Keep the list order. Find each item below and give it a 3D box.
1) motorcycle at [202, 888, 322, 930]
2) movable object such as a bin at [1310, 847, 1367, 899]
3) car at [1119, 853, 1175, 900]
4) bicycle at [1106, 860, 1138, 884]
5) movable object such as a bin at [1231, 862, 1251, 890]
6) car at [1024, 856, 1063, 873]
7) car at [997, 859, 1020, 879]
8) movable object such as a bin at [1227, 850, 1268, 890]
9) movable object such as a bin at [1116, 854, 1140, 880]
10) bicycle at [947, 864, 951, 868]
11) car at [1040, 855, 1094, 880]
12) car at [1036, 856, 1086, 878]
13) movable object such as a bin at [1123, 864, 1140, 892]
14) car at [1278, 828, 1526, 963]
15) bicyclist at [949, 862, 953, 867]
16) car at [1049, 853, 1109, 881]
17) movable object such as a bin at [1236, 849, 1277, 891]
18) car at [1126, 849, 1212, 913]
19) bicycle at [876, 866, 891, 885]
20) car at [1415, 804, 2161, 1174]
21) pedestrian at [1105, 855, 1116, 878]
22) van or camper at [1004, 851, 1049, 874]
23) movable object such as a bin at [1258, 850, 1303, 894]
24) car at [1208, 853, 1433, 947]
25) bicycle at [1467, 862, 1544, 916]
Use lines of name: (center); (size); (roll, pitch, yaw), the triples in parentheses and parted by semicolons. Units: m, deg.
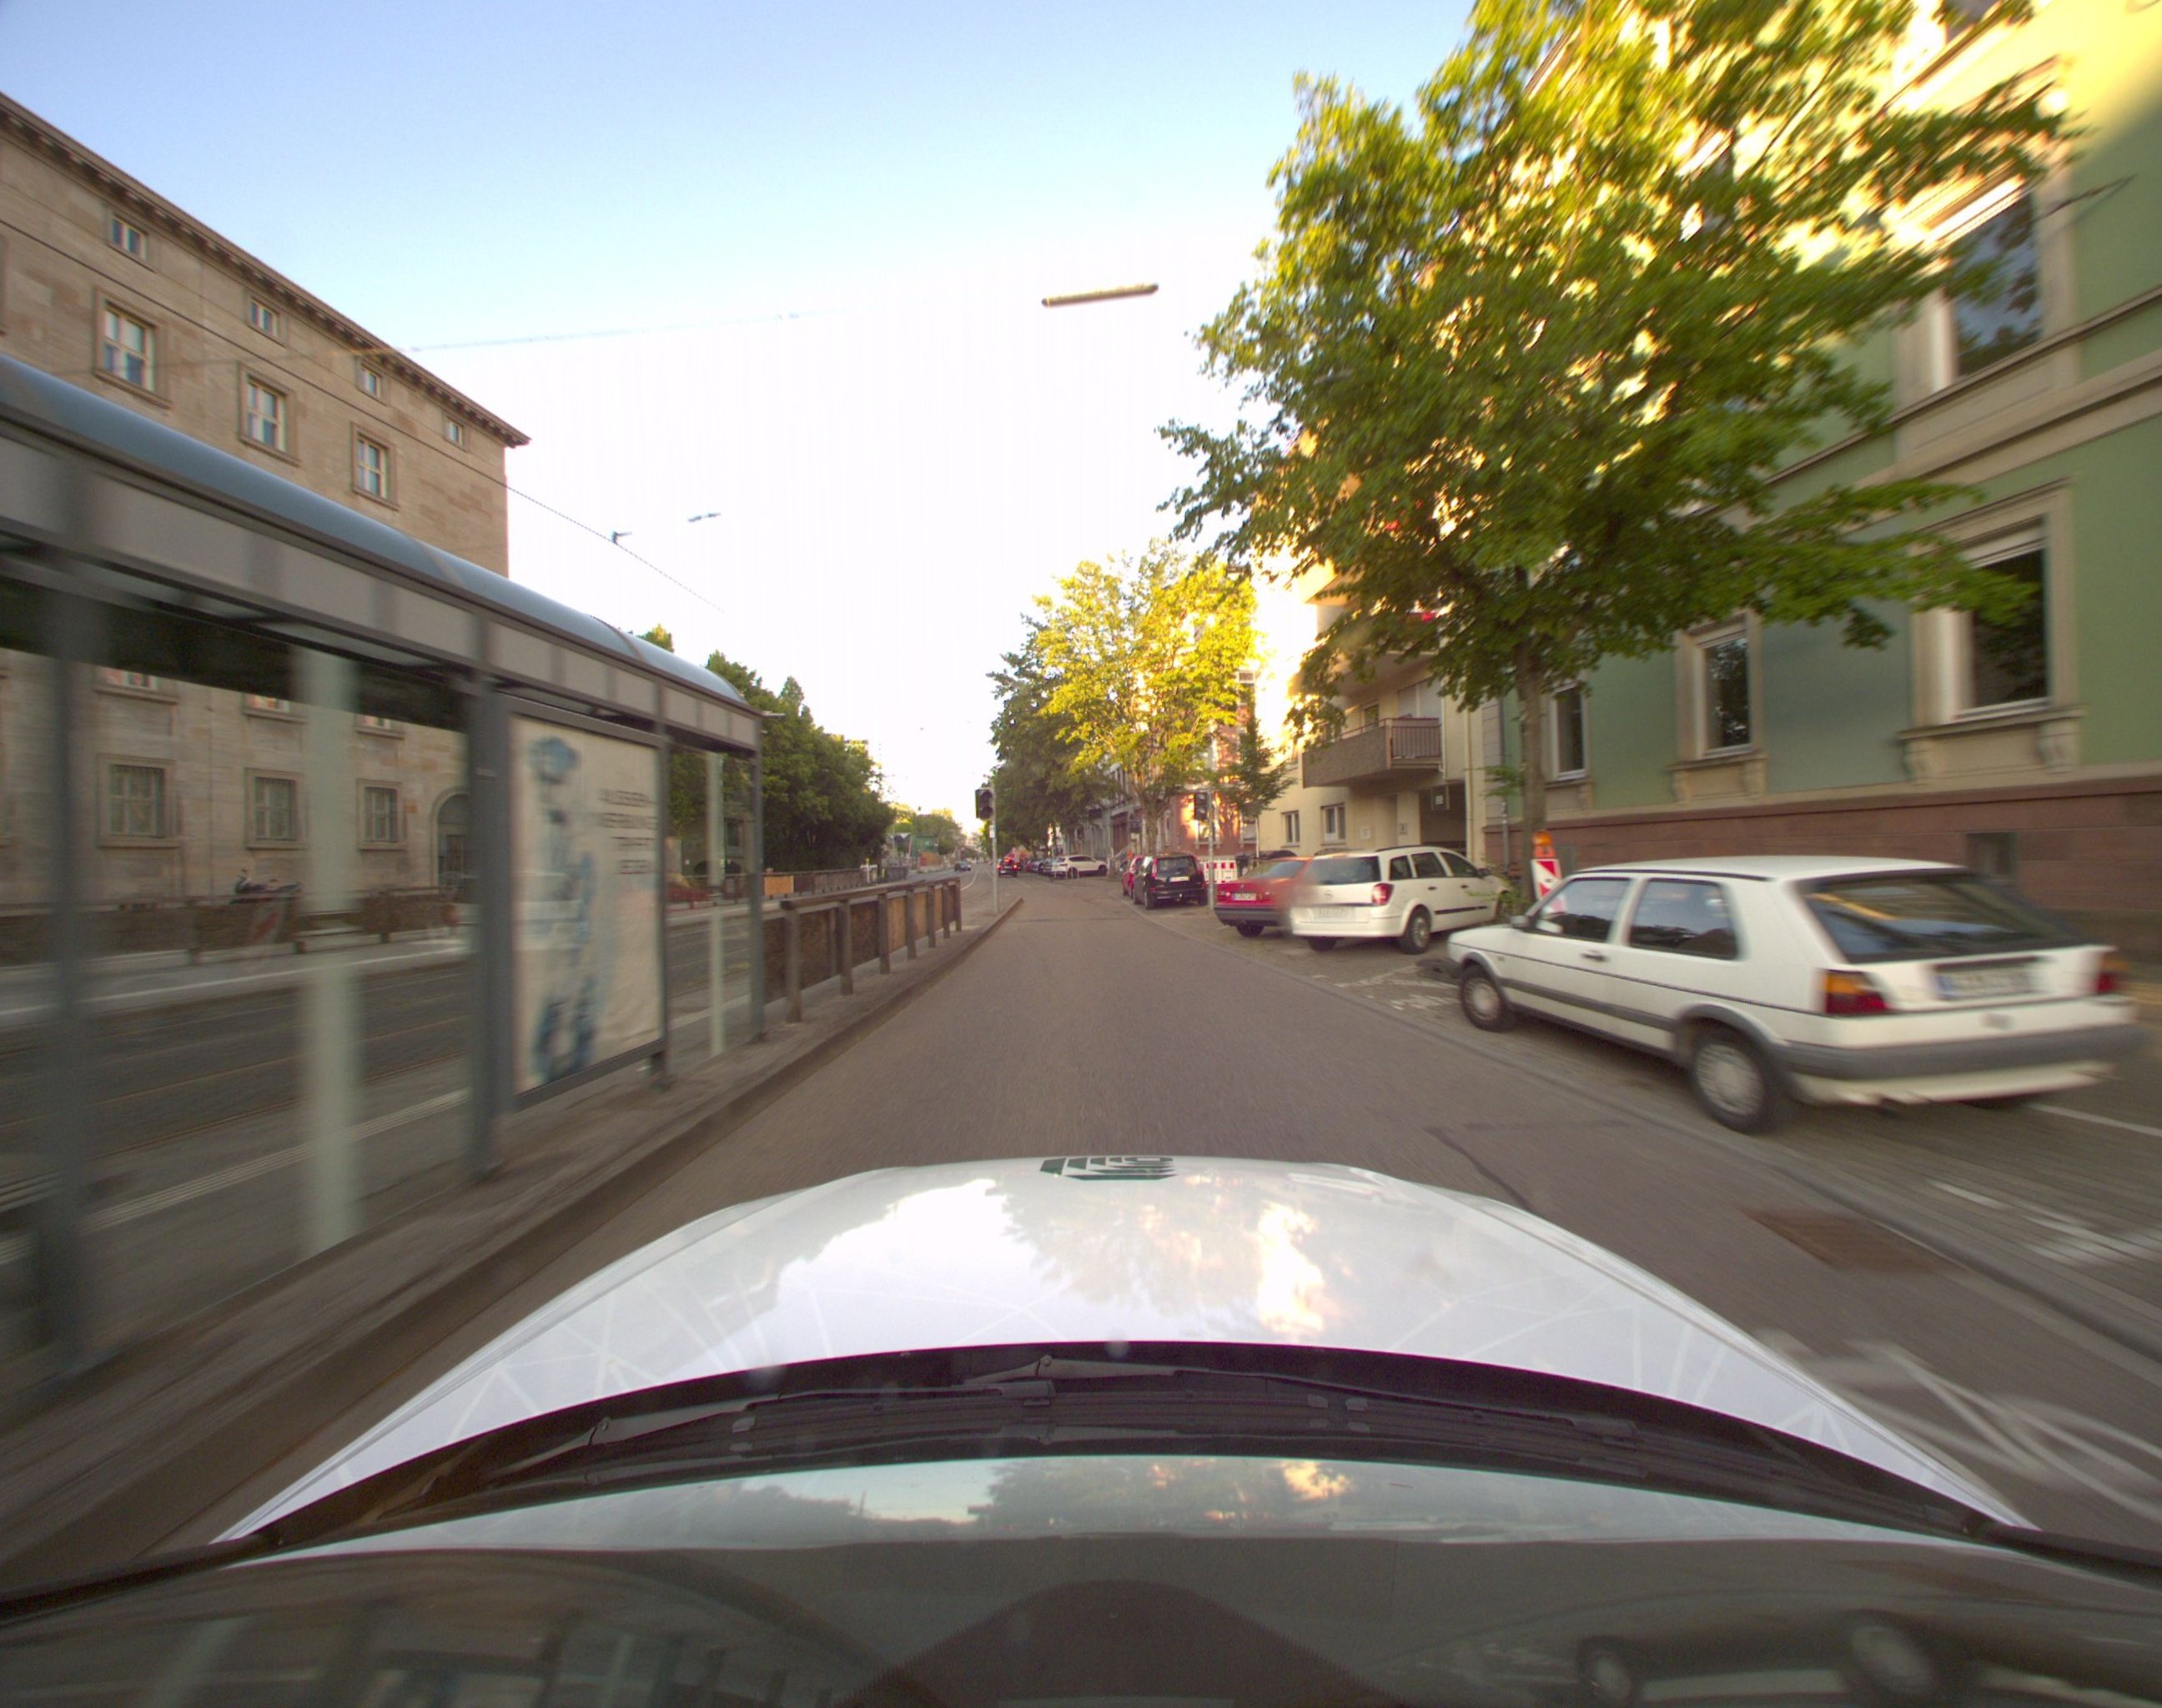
motorcycle: (-24.509, 1.632, 24.469); (0.695, 1.074, 2.658); (-2, -1, 6)
movable object such as a bin: (7.748, 0.563, 24.566); (1.112, 1.502, 1.478); (-1, -1, -8)
car: (2.372, 0.790, 30.210); (1.561, 1.536, 3.689); (-3, 0, -2)
bicycle: (2.305, 1.010, 45.892); (1.929, 1.266, 0.594); (-2, -1, -42)
movable object such as a bin: (6.161, 0.832, 31.356); (0.553, 1.047, 0.569); (-1, -1, -9)
car: (-4.318, 1.189, 93.574); (3.971, 1.603, 1.821); (-5, 0, -34)
car: (-6.414, 1.311, 71.688); (1.880, 1.620, 3.989); (1, -1, -8)
movable object such as a bin: (6.646, 0.633, 32.559); (1.139, 1.502, 1.594); (-1, -1, -8)
movable object such as a bin: (2.739, 0.745, 47.511); (1.139, 1.502, 1.395); (-1, -1, -8)
bicycle: (-33.209, 2.971, 204.555); (0.948, 0.849, 2.687); (-1, 0, -10)
car: (-1.091, 1.054, 64.922); (3.978, 1.668, 1.878); (-4, -1, -44)
car: (-1.716, 1.142, 71.231); (3.975, 1.603, 1.819); (-3, -1, -39)
movable object such as a bin: (2.175, 1.029, 35.082); (0.709, 1.153, 0.589); (-1, -1, 5)
car: (4.999, 0.518, 12.412); (4.232, 1.725, 1.701); (-1, -1, -41)
bicyclist: (-32.595, 2.645, 203.906); (0.944, 1.346, 1.107); (-3, -1, -10)
car: (-0.130, 0.908, 57.254); (3.974, 1.627, 1.655); (-4, 1, -38)
movable object such as a bin: (6.531, 0.599, 30.304); (1.072, 1.502, 1.315); (-1, -1, -9)
car: (2.520, 0.763, 24.264); (1.740, 1.632, 4.082); (-3, 0, -4)
bicycle: (-12.218, 1.319, 50.450); (0.461, 1.075, 2.019); (-2, -1, -3)
car: (4.163, 0.622, 5.744); (1.677, 1.552, 3.995); (-4, 0, -4)
pedestrian: (2.007, 0.852, 55.566); (0.586, 1.609, 0.623); (-1, -1, -7)
van or camper: (-7.052, 1.061, 105.104); (5.581, 2.530, 2.061); (-5, 0, -42)
movable object such as a bin: (7.085, 0.629, 28.950); (1.139, 1.502, 1.267); (-1, -1, -8)
car: (4.443, 0.750, 14.860); (4.227, 1.454, 1.628); (-1, -1, -35)
bicycle: (8.923, 0.719, 17.199); (0.650, 1.074, 1.552); (-1, -1, -8)
